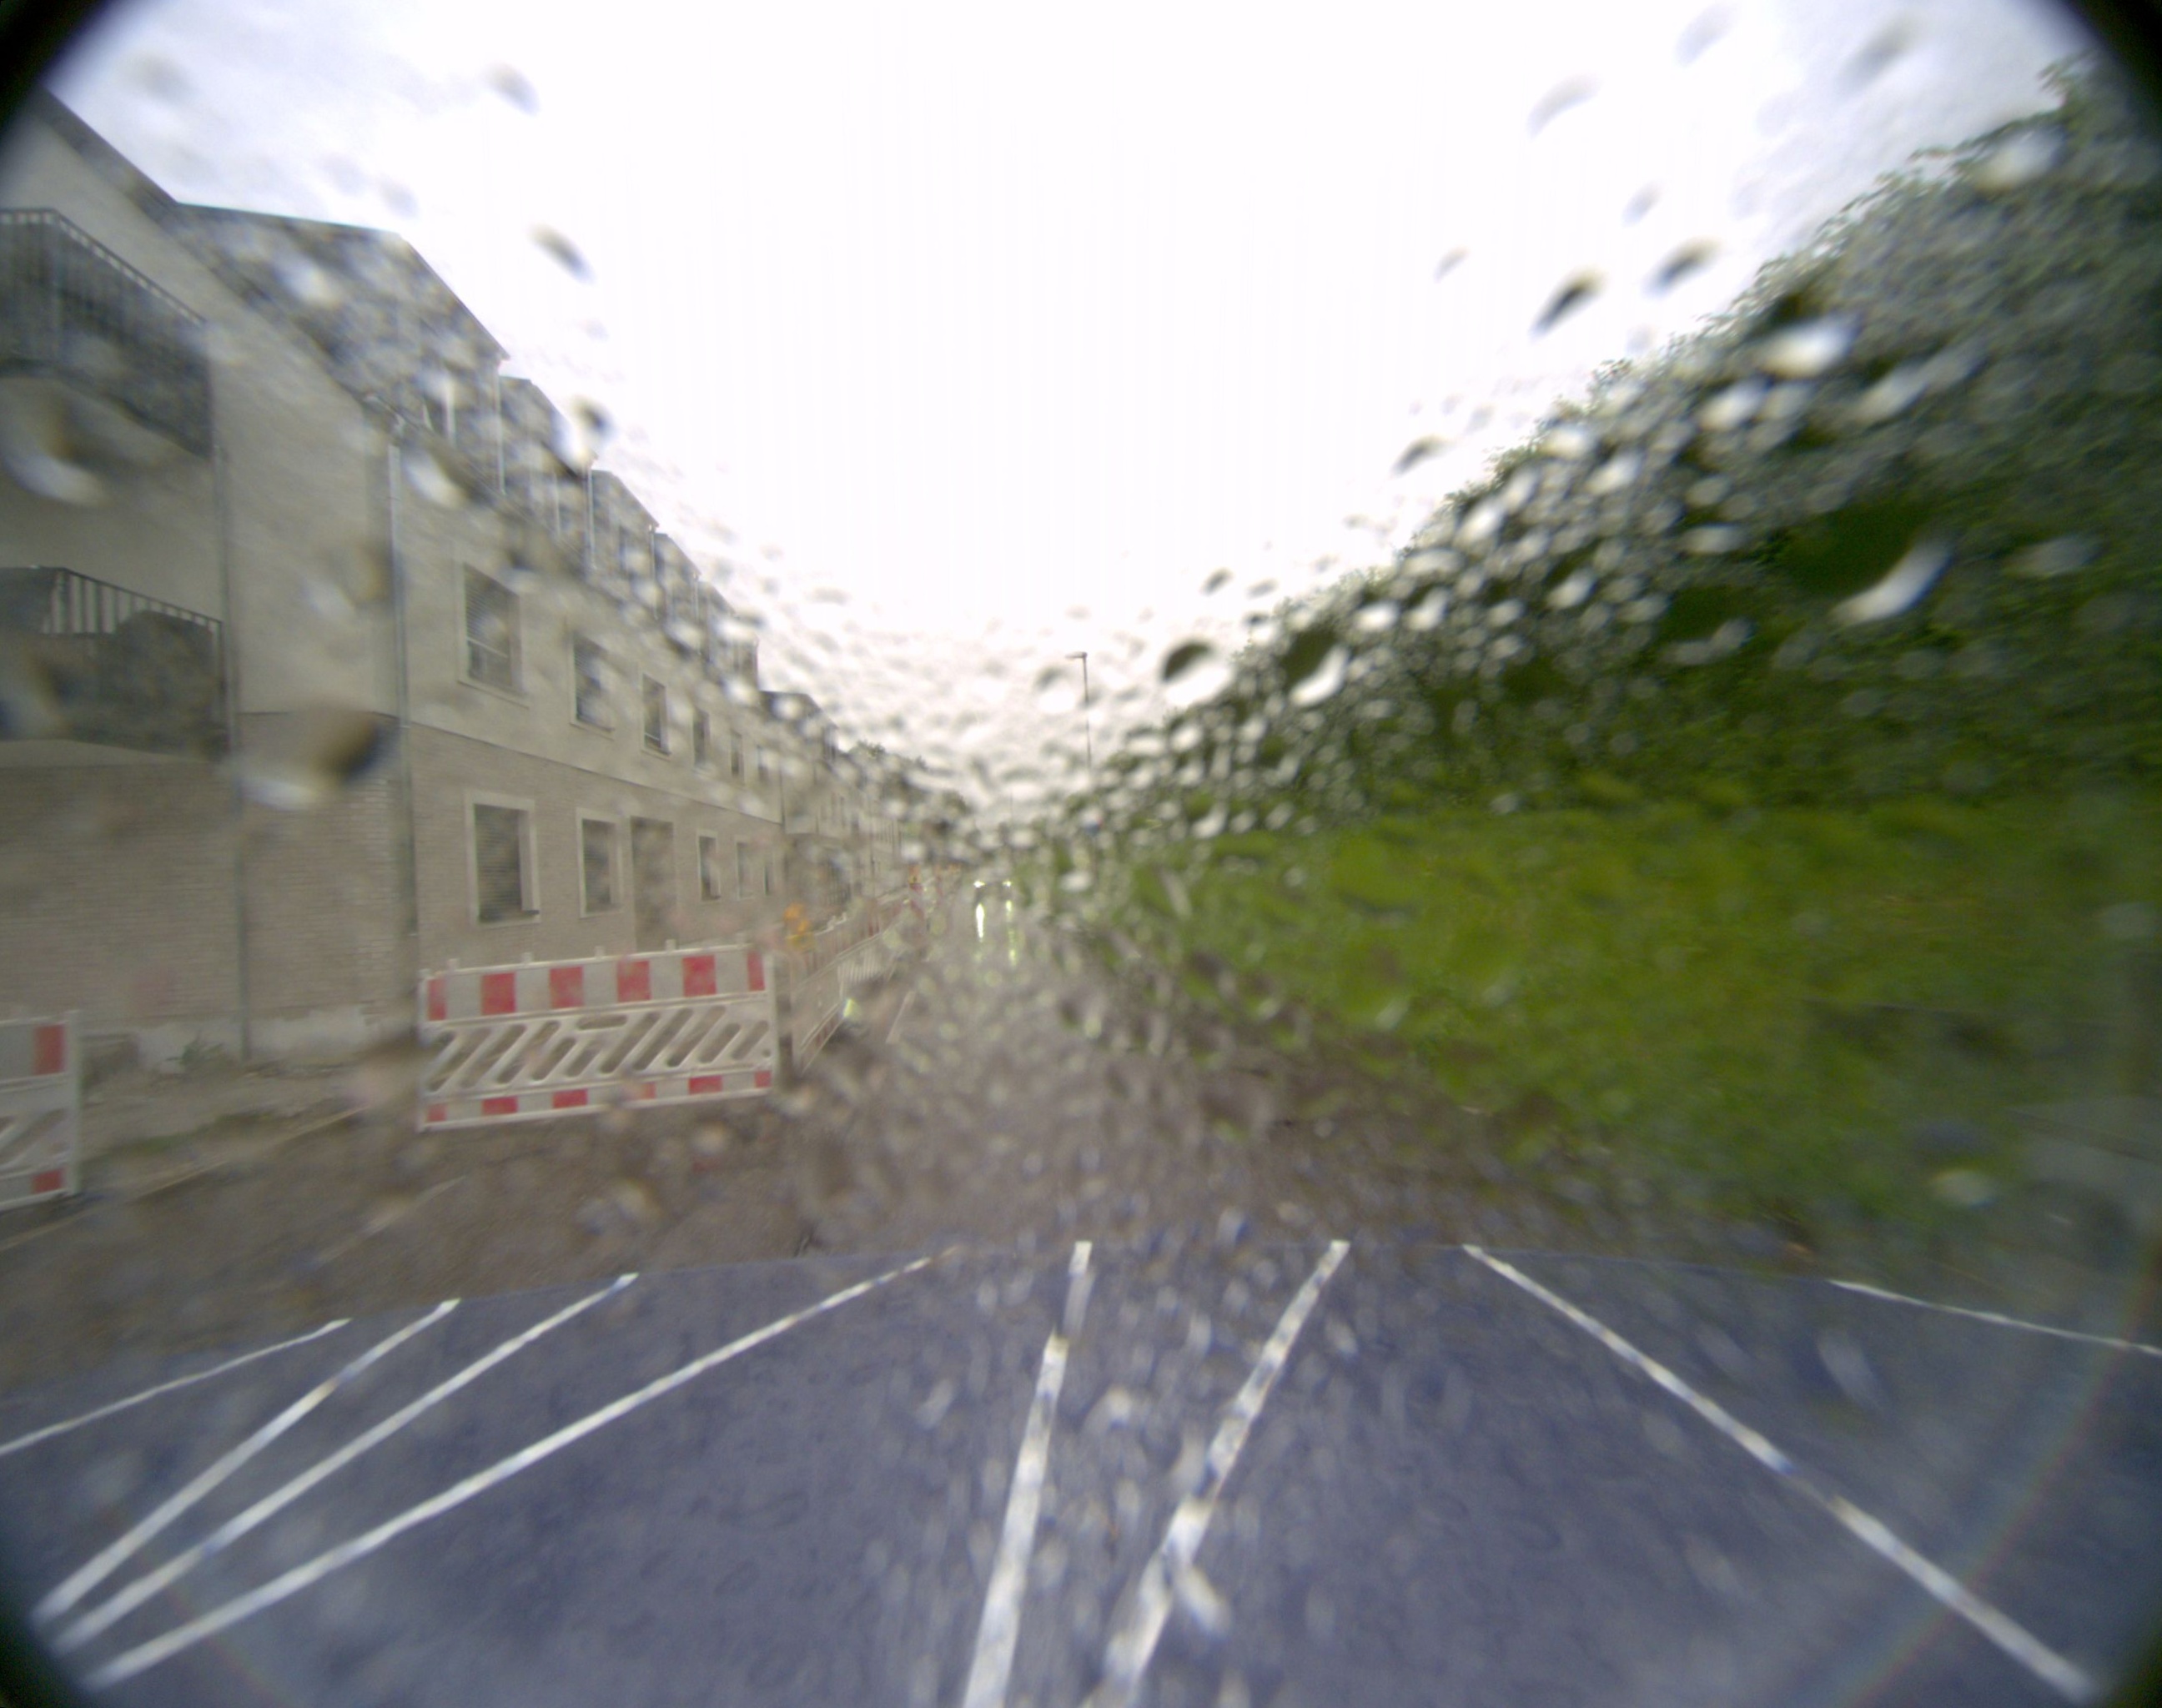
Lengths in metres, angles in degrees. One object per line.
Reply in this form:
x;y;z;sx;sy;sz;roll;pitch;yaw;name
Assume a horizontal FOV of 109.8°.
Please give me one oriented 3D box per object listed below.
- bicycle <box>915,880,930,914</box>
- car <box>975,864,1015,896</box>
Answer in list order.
-5.674;1.515;27.239;0.407;1.137;1.220;-2;0;-6;bicycle
-4.408;1.262;38.340;1.853;1.444;4.528;-2;0;-8;car
